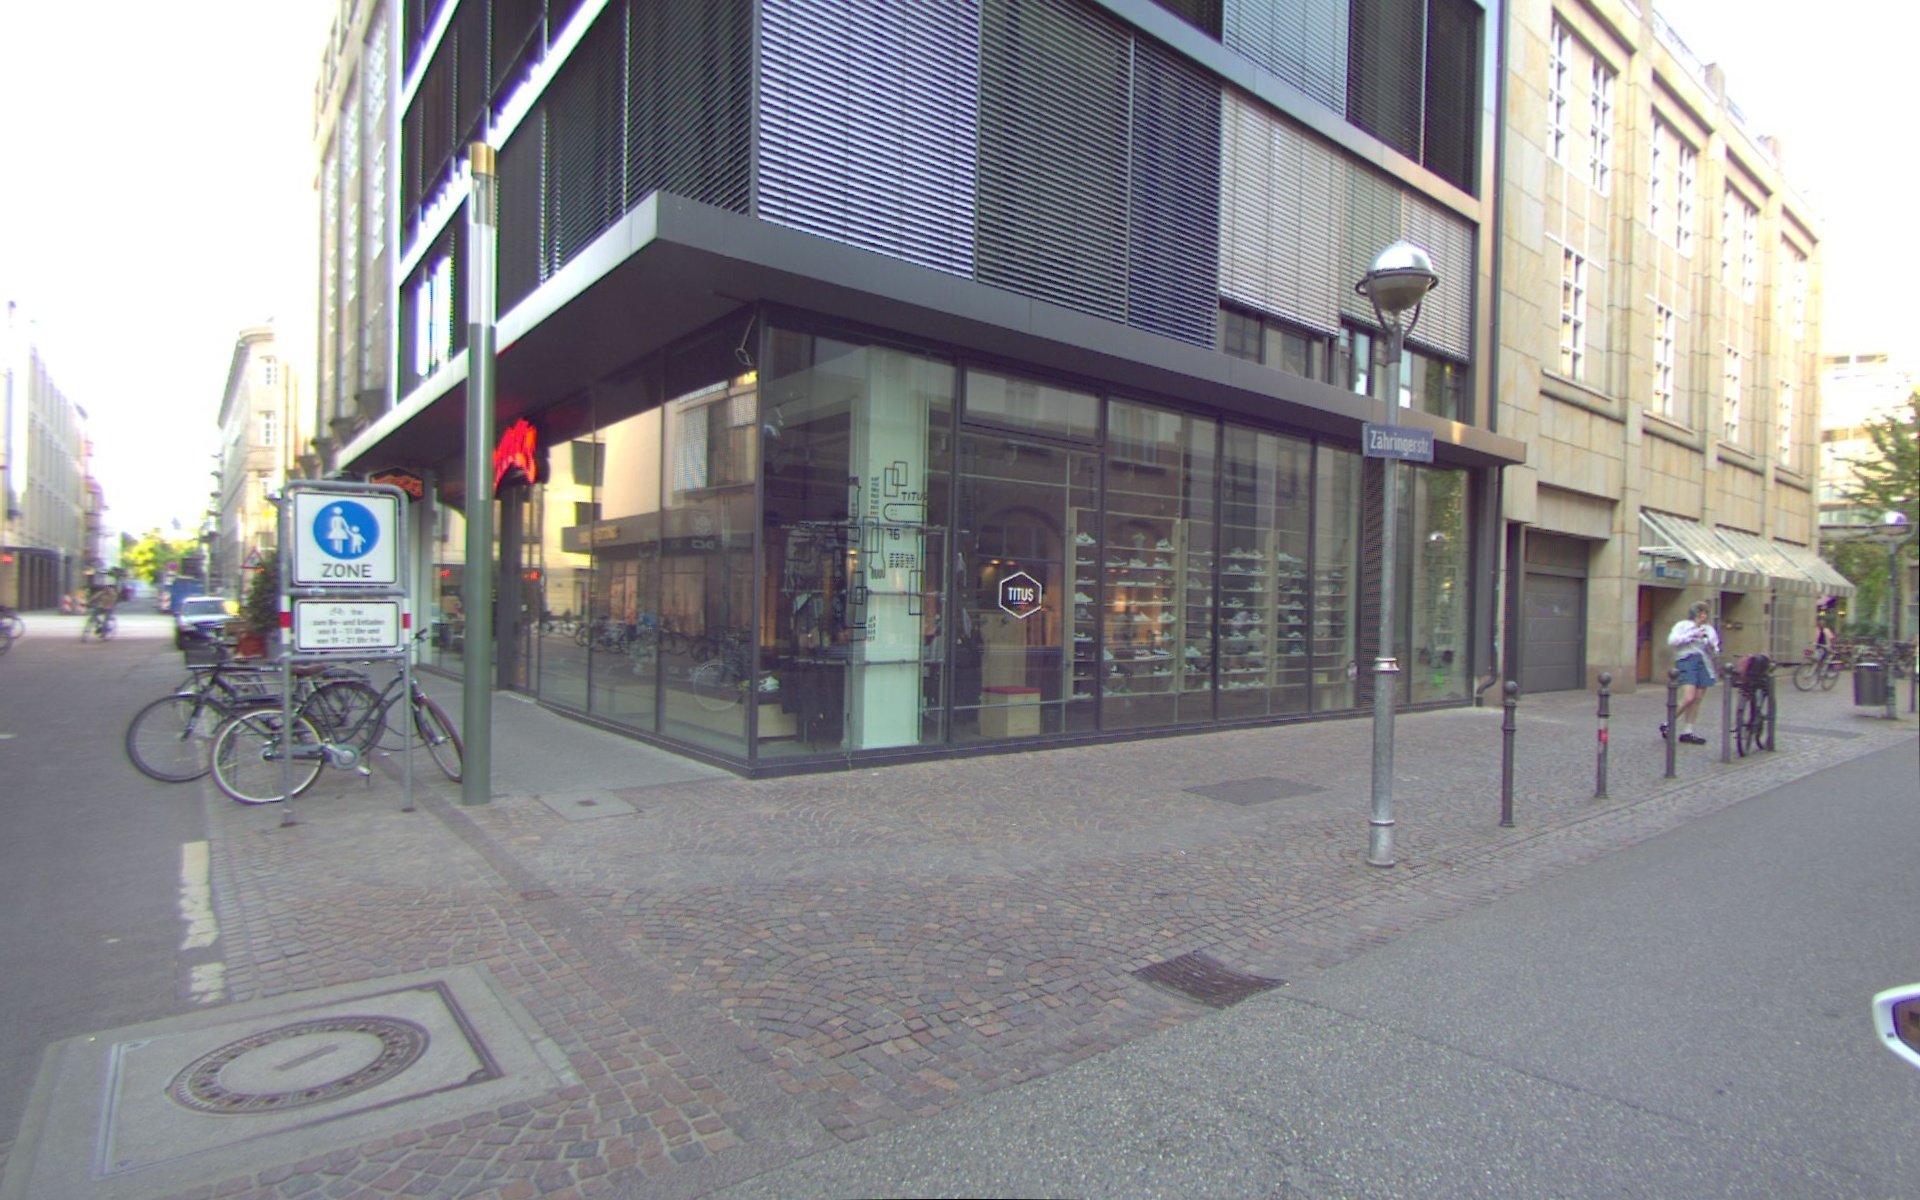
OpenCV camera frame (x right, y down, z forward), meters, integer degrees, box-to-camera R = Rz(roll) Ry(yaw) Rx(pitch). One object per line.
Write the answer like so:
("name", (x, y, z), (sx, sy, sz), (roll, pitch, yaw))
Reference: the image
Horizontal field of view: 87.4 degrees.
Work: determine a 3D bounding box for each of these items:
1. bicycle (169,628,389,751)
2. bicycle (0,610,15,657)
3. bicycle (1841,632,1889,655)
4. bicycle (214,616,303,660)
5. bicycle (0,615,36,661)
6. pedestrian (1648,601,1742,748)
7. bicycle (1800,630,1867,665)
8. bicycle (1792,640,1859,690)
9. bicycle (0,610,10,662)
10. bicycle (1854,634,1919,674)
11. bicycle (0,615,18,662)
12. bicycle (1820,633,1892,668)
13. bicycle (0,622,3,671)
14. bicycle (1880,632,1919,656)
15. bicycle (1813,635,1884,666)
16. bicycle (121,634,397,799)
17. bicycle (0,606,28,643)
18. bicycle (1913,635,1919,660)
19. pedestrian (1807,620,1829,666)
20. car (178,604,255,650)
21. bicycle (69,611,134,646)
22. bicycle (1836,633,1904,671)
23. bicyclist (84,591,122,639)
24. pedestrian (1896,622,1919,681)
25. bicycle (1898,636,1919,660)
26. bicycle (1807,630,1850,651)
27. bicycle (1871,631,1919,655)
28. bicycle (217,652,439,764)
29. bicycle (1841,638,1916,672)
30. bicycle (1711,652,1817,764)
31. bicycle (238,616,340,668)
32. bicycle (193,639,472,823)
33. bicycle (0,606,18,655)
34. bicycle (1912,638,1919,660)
("bicycle", (-7.197, 0.904, 10.684), (1.895, 1.160, 0.550), (0, 1, -40))
("bicycle", (-24.369, 0.811, 24.608), (1.719, 1.161, 0.460), (1, 0, -40))
("bicycle", (46.588, 2.234, 51.701), (1.748, 1.129, 0.542), (0, -1, 31))
("bicycle", (-17.138, 0.912, 24.567), (1.779, 1.028, 0.363), (0, 1, -40))
("bicycle", (-23.130, 0.902, 23.854), (1.719, 1.065, 0.460), (1, 0, -40))
("pedestrian", (9.176, 0.903, 12.547), (0.587, 1.741, 0.761), (1, 2, -40))
("bicycle", (32.336, 1.755, 37.204), (1.806, 1.241, 0.533), (0, -1, 29))
("bicycle", (20.631, 1.544, 23.937), (1.740, 1.153, 0.520), (1, -1, -24))
("bicycle", (-21.858, 0.779, 21.746), (1.834, 1.151, 0.460), (1, 0, -40))
("bicycle", (30.388, 1.755, 32.779), (1.740, 1.247, 0.533), (0, -1, 29))
("bicycle", (-22.605, 0.866, 22.787), (1.763, 1.065, 0.460), (1, 0, -40))
("bicycle", (31.922, 1.780, 35.814), (1.844, 1.193, 0.533), (0, -1, 29))
("bicycle", (-20.153, 0.922, 19.717), (1.929, 0.969, 0.460), (1, 0, -40))
("bicycle", (45.274, 2.103, 48.092), (1.748, 1.129, 0.542), (0, -1, 31))
("bicycle", (32.148, 1.825, 36.370), (1.866, 1.066, 0.533), (0, -1, 29))
("bicycle", (-5.782, 0.904, 8.364), (1.826, 1.165, 0.603), (-1, 1, -40))
("bicycle", (-28.789, 0.725, 29.730), (1.719, 1.076, 0.432), (1, 0, -40))
("bicycle", (41.877, 2.064, 42.977), (1.517, 1.063, 0.574), (0, -1, 31))
("pedestrian", (28.564, 1.417, 33.442), (0.468, 1.491, 0.414), (1, 0, 29))
("car", (-21.933, 0.766, 29.724), (1.612, 1.238, 3.454), (1, 0, -33))
("bicycle", (-26.513, 0.859, 31.056), (0.573, 1.028, 1.793), (0, 0, -4))
("bicycle", (30.909, 1.768, 34.154), (1.629, 1.247, 0.533), (0, -1, 29))
("bicyclist", (-26.500, 0.456, 31.071), (0.563, 1.467, 0.736), (0, 1, -4))
("pedestrian", (27.894, 1.483, 29.311), (0.851, 1.686, 0.671), (1, 0, -33))
("bicycle", (42.322, 2.111, 44.140), (1.517, 1.063, 0.574), (0, -1, 31))
("bicycle", (49.480, 2.318, 57.239), (1.749, 1.129, 0.541), (0, -1, 33))
("bicycle", (45.783, 2.111, 49.135), (1.748, 1.129, 0.542), (0, -1, 31))
("bicycle", (-6.072, 1.004, 9.726), (1.778, 0.907, 0.449), (-1, 1, -40))
("bicycle", (31.654, 1.887, 34.636), (1.809, 1.137, 0.533), (0, -1, 29))
("bicycle", (9.523, 1.230, 11.872), (1.898, 1.169, 0.528), (1, 1, -39))
("bicycle", (-14.160, 0.872, 21.225), (1.779, 1.028, 0.363), (0, 1, -40))
("bicycle", (-4.577, 0.892, 7.392), (1.660, 1.128, 0.701), (-1, 1, -40))
("bicycle", (-24.904, 0.760, 25.258), (1.719, 1.245, 0.460), (1, 0, -40))
("bicycle", (41.349, 2.074, 42.301), (1.748, 0.916, 0.462), (0, -1, 31))
